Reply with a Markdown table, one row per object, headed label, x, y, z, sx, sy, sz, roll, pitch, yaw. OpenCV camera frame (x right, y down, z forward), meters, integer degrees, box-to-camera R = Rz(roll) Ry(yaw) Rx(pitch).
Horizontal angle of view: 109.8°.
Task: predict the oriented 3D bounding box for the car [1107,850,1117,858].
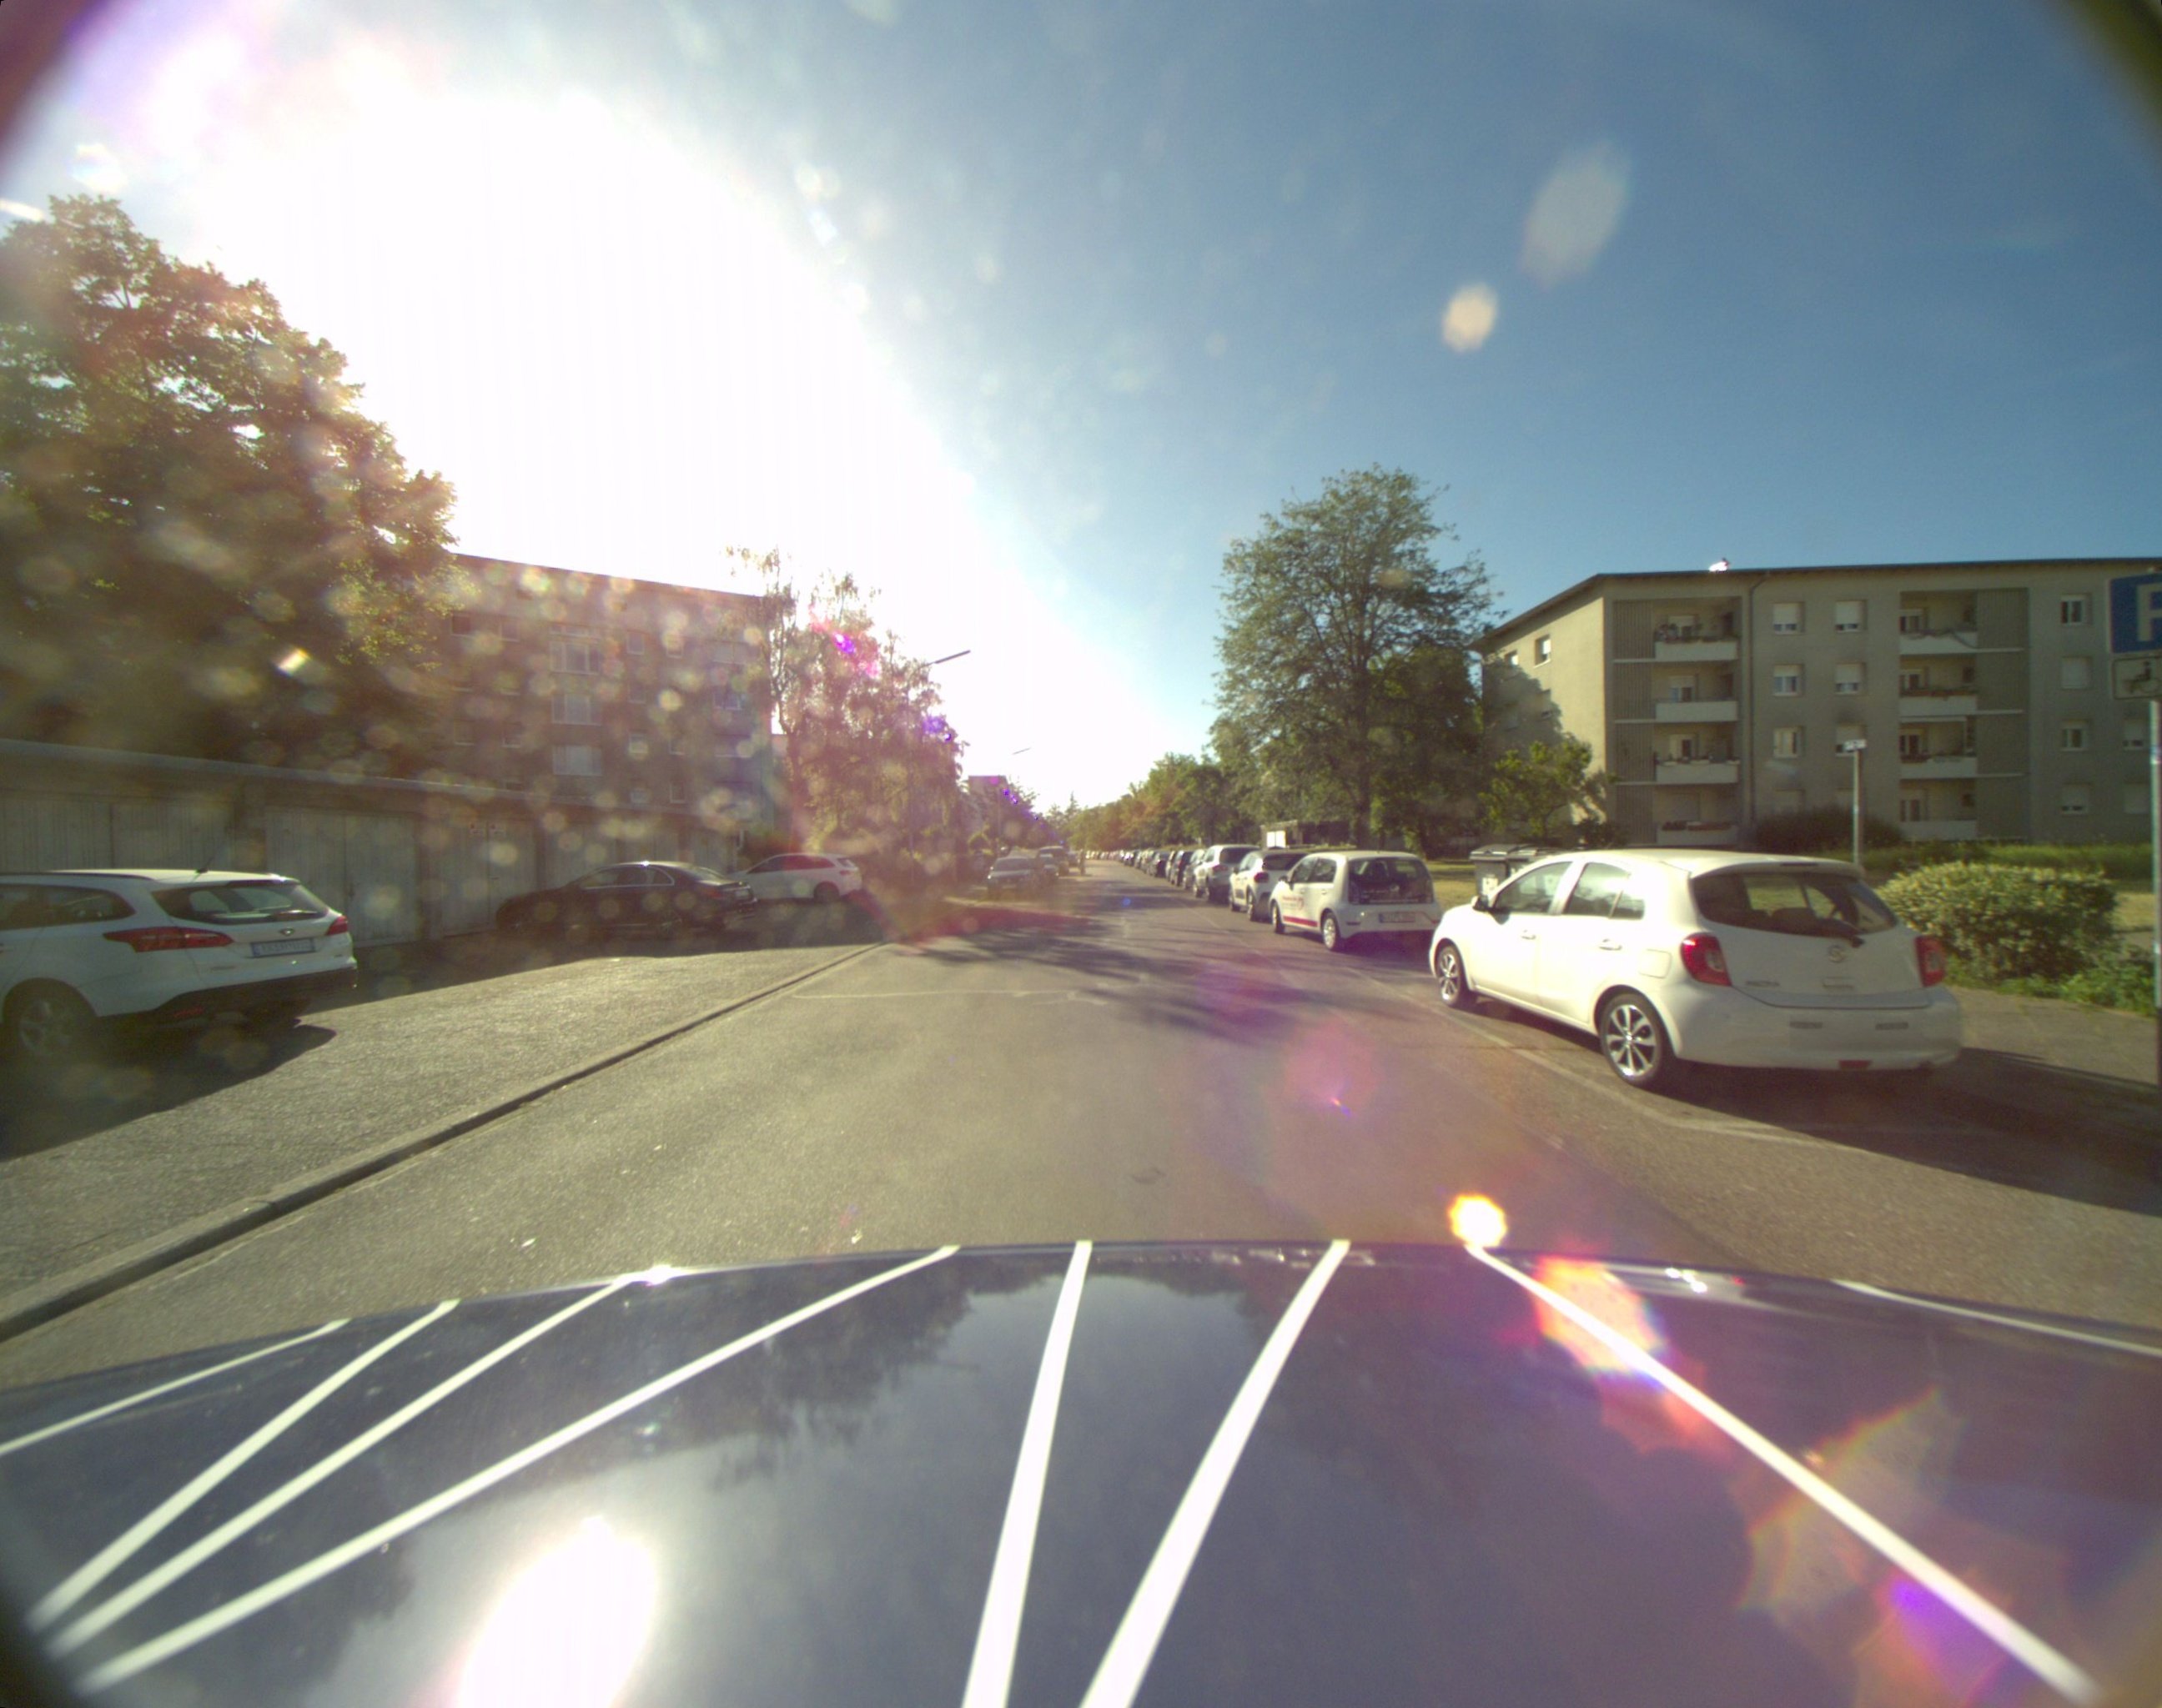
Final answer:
| label | x | y | z | sx | sy | sz | roll | pitch | yaw |
| --- | --- | --- | --- | --- | --- | --- | --- | --- | --- |
| car | 5.874 | -0.079 | 143.720 | 1.658 | 1.470 | 3.104 | 0 | 0 | -4 |

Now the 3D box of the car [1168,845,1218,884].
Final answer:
| label | x | y | z | sx | sy | sz | roll | pitch | yaw |
| --- | --- | --- | --- | --- | --- | --- | --- | --- | --- |
| car | 4.873 | 0.415 | 33.517 | 1.758 | 1.597 | 3.969 | 1 | 1 | 2 |

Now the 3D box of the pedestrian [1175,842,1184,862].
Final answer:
| label | x | y | z | sx | sy | sz | roll | pitch | yaw |
| --- | --- | --- | --- | --- | --- | --- | --- | --- | --- |
| pedestrian | 8.514 | -0.198 | 65.796 | 0.722 | 1.669 | 0.600 | -2 | 1 | 1 |

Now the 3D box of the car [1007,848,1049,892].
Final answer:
| label | x | y | z | sx | sy | sz | roll | pitch | yaw |
| --- | --- | --- | --- | --- | --- | --- | --- | --- | --- |
| car | -2.216 | 0.634 | 32.111 | 1.492 | 1.708 | 2.583 | -3 | 1 | 1 |

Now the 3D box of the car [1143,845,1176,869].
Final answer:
| label | x | y | z | sx | sy | sz | roll | pitch | yaw |
| --- | --- | --- | --- | --- | --- | --- | --- | --- | --- |
| car | 5.190 | 0.175 | 50.386 | 1.759 | 1.565 | 3.719 | 1 | 1 | 0 |

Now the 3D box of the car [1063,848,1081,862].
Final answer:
| label | x | y | z | sx | sy | sz | roll | pitch | yaw |
| --- | --- | --- | --- | --- | --- | --- | --- | --- | --- |
| car | -0.972 | 0.097 | 87.569 | 1.808 | 1.486 | 3.795 | -2 | 0 | 2 |

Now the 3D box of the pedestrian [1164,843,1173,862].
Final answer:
| label | x | y | z | sx | sy | sz | roll | pitch | yaw |
| --- | --- | --- | --- | --- | --- | --- | --- | --- | --- |
| pedestrian | 7.593 | -0.147 | 65.780 | 0.722 | 1.669 | 0.616 | -2 | 1 | 1 |

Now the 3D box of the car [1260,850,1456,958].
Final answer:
| label | x | y | z | sx | sy | sz | roll | pitch | yaw |
| --- | --- | --- | --- | --- | --- | --- | --- | --- | --- |
| car | 4.313 | 0.686 | 12.419 | 1.667 | 1.504 | 3.536 | 0 | 1 | -5 |

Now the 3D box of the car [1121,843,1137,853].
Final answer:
| label | x | y | z | sx | sy | sz | roll | pitch | yaw |
| --- | --- | --- | --- | --- | --- | --- | --- | --- | --- |
| car | 6.400 | -0.815 | 101.688 | 1.758 | 1.377 | 4.673 | 0 | 1 | 0 |

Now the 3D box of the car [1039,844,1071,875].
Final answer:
| label | x | y | z | sx | sy | sz | roll | pitch | yaw |
| --- | --- | --- | --- | --- | --- | --- | --- | --- | --- |
| car | -1.723 | 0.310 | 51.425 | 1.857 | 1.923 | 4.704 | -3 | 1 | 0 |

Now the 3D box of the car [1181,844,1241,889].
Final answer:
| label | x | y | z | sx | sy | sz | roll | pitch | yaw |
| --- | --- | --- | --- | --- | --- | --- | --- | --- | --- |
| car | 4.785 | 0.427 | 28.400 | 1.640 | 1.597 | 3.534 | 0 | 1 | 0 |

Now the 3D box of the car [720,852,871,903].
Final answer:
| label | x | y | z | sx | sy | sz | roll | pitch | yaw |
| --- | --- | --- | --- | --- | --- | --- | --- | --- | --- |
| car | -8.744 | 0.697 | 23.531 | 3.953 | 1.505 | 1.828 | 0 | 1 | -2 |

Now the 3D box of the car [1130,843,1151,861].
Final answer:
| label | x | y | z | sx | sy | sz | roll | pitch | yaw |
| --- | --- | --- | --- | --- | --- | --- | --- | --- | --- |
| car | 5.690 | -0.201 | 73.599 | 1.758 | 1.626 | 4.370 | 1 | 1 | 1 |

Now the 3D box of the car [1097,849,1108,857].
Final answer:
| label | x | y | z | sx | sy | sz | roll | pitch | yaw |
| --- | --- | --- | --- | --- | --- | --- | --- | --- | --- |
| car | 4.379 | -0.233 | 155.993 | 1.658 | 1.621 | 4.070 | 0 | 0 | -5 |

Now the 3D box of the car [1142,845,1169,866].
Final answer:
| label | x | y | z | sx | sy | sz | roll | pitch | yaw |
| --- | --- | --- | --- | --- | --- | --- | --- | --- | --- |
| car | 5.507 | 0.098 | 56.330 | 1.758 | 1.472 | 3.959 | 1 | 1 | 3 |

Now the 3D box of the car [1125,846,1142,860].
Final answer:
| label | x | y | z | sx | sy | sz | roll | pitch | yaw |
| --- | --- | --- | --- | --- | --- | --- | --- | --- | --- |
| car | 5.522 | -0.152 | 80.418 | 1.758 | 1.417 | 4.210 | 1 | 1 | 3 |

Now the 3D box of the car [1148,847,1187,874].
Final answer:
| label | x | y | z | sx | sy | sz | roll | pitch | yaw |
| --- | --- | --- | --- | --- | --- | --- | --- | --- | --- |
| car | 5.028 | 0.348 | 44.753 | 1.758 | 1.472 | 4.537 | 1 | 1 | 0 |

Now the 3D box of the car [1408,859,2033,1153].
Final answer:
| label | x | y | z | sx | sy | sz | roll | pitch | yaw |
| --- | --- | --- | --- | --- | --- | --- | --- | --- | --- |
| car | 4.264 | 0.830 | 6.022 | 1.691 | 1.526 | 3.890 | 0 | 1 | 1 |

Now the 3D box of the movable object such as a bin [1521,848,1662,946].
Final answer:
| label | x | y | z | sx | sy | sz | roll | pitch | yaw |
| --- | --- | --- | --- | --- | --- | --- | --- | --- | --- |
| movable object such as a bin | 7.644 | 0.608 | 11.467 | 1.180 | 1.332 | 1.343 | -4 | 1 | 3 |

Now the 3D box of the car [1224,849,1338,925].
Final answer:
| label | x | y | z | sx | sy | sz | roll | pitch | yaw |
| --- | --- | --- | --- | --- | --- | --- | --- | --- | --- |
| car | 4.367 | 0.649 | 17.164 | 1.666 | 1.504 | 3.945 | 0 | 1 | 2 |

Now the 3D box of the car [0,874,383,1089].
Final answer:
| label | x | y | z | sx | sy | sz | roll | pitch | yaw |
| --- | --- | --- | --- | --- | --- | --- | --- | --- | --- |
| car | -9.016 | 0.962 | 6.506 | 4.425 | 1.505 | 1.829 | 0 | 1 | 2 |

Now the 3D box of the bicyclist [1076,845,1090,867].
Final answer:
| label | x | y | z | sx | sy | sz | roll | pitch | yaw |
| --- | --- | --- | --- | --- | --- | --- | --- | --- | --- |
| bicyclist | 0.115 | 0.134 | 47.480 | 0.812 | 1.348 | 1.091 | -2 | 1 | 2 |

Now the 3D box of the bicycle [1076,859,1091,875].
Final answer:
| label | x | y | z | sx | sy | sz | roll | pitch | yaw |
| --- | --- | --- | --- | --- | --- | --- | --- | --- | --- |
| bicycle | 0.141 | 0.806 | 47.651 | 0.824 | 0.896 | 2.203 | -2 | 0 | 2 |

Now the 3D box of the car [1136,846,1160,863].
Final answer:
| label | x | y | z | sx | sy | sz | roll | pitch | yaw |
| --- | --- | --- | --- | --- | --- | --- | --- | --- | --- |
| car | 5.572 | 0.024 | 63.646 | 1.758 | 1.412 | 4.269 | 1 | 1 | 1 |

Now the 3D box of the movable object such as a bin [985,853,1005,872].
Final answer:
| label | x | y | z | sx | sy | sz | roll | pitch | yaw |
| --- | --- | --- | --- | --- | --- | --- | --- | --- | --- |
| movable object such as a bin | -6.162 | 0.616 | 54.499 | 1.226 | 1.357 | 1.133 | -1 | 1 | 5 |

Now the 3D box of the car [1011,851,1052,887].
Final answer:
| label | x | y | z | sx | sy | sz | roll | pitch | yaw |
| --- | --- | --- | --- | --- | --- | --- | --- | --- | --- |
| car | -2.247 | 0.677 | 34.938 | 1.418 | 1.515 | 2.558 | -3 | 1 | 5 |

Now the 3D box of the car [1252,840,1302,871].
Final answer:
| label | x | y | z | sx | sy | sz | roll | pitch | yaw |
| --- | --- | --- | --- | --- | --- | --- | --- | --- | --- |
| car | 10.455 | 0.082 | 40.758 | 1.574 | 1.516 | 3.999 | -2 | 1 | -1 |

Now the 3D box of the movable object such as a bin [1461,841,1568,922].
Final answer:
| label | x | y | z | sx | sy | sz | roll | pitch | yaw |
| --- | --- | --- | --- | --- | --- | --- | --- | --- | --- |
| movable object such as a bin | 8.010 | 0.485 | 14.141 | 1.139 | 1.374 | 1.442 | -4 | 1 | 3 |

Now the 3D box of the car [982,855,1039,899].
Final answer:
| label | x | y | z | sx | sy | sz | roll | pitch | yaw |
| --- | --- | --- | --- | --- | --- | --- | --- | --- | --- |
| car | -2.515 | 0.799 | 27.834 | 1.736 | 1.395 | 3.894 | -3 | 1 | -1 |

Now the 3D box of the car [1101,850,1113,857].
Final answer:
| label | x | y | z | sx | sy | sz | roll | pitch | yaw |
| --- | --- | --- | --- | --- | --- | --- | --- | --- | --- |
| car | 5.075 | -0.104 | 148.802 | 1.658 | 1.470 | 3.733 | 0 | 0 | -6 |

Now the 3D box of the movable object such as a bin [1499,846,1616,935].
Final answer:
| label | x | y | z | sx | sy | sz | roll | pitch | yaw |
| --- | --- | --- | --- | --- | --- | --- | --- | --- | --- |
| movable object such as a bin | 7.949 | 0.576 | 12.759 | 1.139 | 1.350 | 1.243 | -4 | 1 | 3 |

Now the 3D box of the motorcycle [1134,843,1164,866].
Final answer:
| label | x | y | z | sx | sy | sz | roll | pitch | yaw |
| --- | --- | --- | --- | --- | --- | --- | --- | --- | --- |
| motorcycle | 5.402 | 0.041 | 60.164 | 2.262 | 1.717 | 0.932 | 1 | 1 | -2 |

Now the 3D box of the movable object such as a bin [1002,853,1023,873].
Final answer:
| label | x | y | z | sx | sy | sz | roll | pitch | yaw |
| --- | --- | --- | --- | --- | --- | --- | --- | --- | --- |
| movable object such as a bin | -4.824 | 0.624 | 53.477 | 1.028 | 1.302 | 1.388 | 2 | 1 | 11 |

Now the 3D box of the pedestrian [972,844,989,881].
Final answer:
| label | x | y | z | sx | sy | sz | roll | pitch | yaw |
| --- | --- | --- | --- | --- | --- | --- | --- | --- | --- |
| pedestrian | -5.122 | 0.414 | 38.871 | 0.705 | 1.877 | 0.872 | 1 | 1 | 2 |

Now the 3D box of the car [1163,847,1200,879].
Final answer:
| label | x | y | z | sx | sy | sz | roll | pitch | yaw |
| --- | --- | --- | --- | --- | --- | --- | --- | --- | --- |
| car | 5.121 | 0.414 | 38.985 | 1.448 | 1.565 | 3.142 | 1 | 1 | 0 |

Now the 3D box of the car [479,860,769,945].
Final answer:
| label | x | y | z | sx | sy | sz | roll | pitch | yaw |
| --- | --- | --- | --- | --- | --- | --- | --- | --- | --- |
| car | -8.680 | 0.896 | 14.693 | 4.524 | 1.505 | 1.829 | 0 | 1 | 2 |

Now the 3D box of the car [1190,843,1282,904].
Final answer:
| label | x | y | z | sx | sy | sz | roll | pitch | yaw |
| --- | --- | --- | --- | --- | --- | --- | --- | --- | --- |
| car | 4.439 | 0.501 | 22.446 | 1.908 | 1.630 | 4.349 | 0 | 1 | 1 |

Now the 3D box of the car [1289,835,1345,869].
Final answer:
| label | x | y | z | sx | sy | sz | roll | pitch | yaw |
| --- | --- | --- | --- | --- | --- | --- | --- | --- | --- |
| car | 12.355 | -0.103 | 39.991 | 1.574 | 1.631 | 3.999 | -2 | 1 | -1 |

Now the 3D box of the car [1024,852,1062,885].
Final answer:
| label | x | y | z | sx | sy | sz | roll | pitch | yaw |
| --- | --- | --- | --- | --- | --- | --- | --- | --- | --- |
| car | -1.882 | 0.675 | 38.932 | 1.736 | 1.481 | 4.500 | -3 | 1 | -1 |
